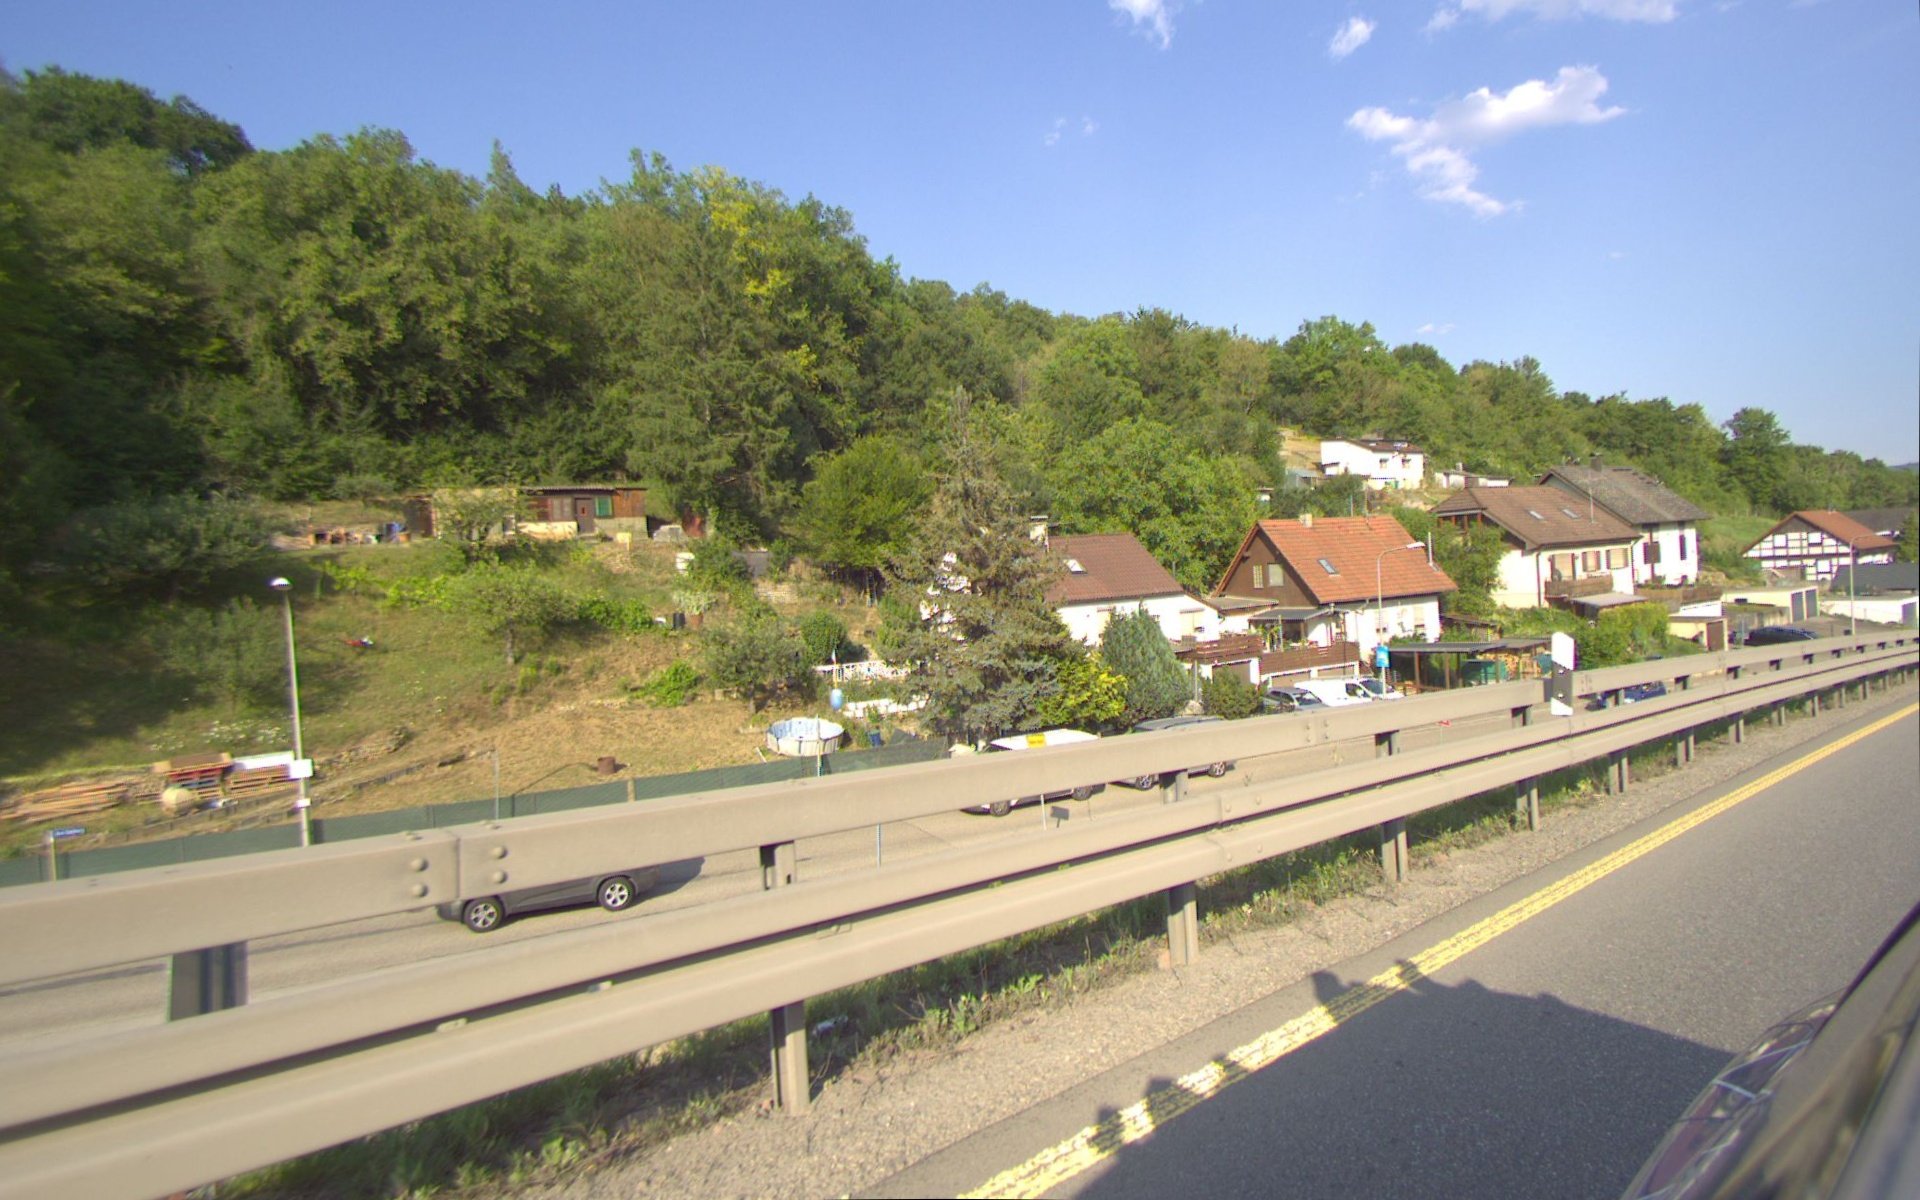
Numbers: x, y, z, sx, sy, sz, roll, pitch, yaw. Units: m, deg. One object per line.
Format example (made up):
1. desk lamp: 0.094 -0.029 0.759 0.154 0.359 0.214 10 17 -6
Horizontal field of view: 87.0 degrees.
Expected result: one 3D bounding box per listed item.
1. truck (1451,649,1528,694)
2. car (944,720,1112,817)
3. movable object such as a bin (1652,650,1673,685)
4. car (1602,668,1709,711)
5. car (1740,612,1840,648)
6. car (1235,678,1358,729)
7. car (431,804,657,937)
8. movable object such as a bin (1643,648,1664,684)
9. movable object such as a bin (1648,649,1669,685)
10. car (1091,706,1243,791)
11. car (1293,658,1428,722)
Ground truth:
1. truck: 26.397 3.537 50.589 1.967 1.760 3.990 -7 -1 8
2. car: 2.121 5.060 31.021 4.954 2.010 1.870 -3 3 -32
3. movable object such as a bin: 36.905 3.532 53.146 0.405 1.794 0.491 -2 -8 -27
4. car: 30.372 3.889 44.226 3.542 1.619 1.775 -3 -3 -13
5. car: 53.607 1.926 65.475 1.961 1.542 4.518 -3 8 -30
6. car: 14.343 4.385 43.500 1.682 1.576 5.110 -2 2 -32
7. car: -9.124 5.850 22.303 4.406 1.807 1.871 -2 1 -26
8. movable object such as a bin: 36.156 3.445 52.760 0.400 1.794 0.537 -2 -8 -27
9. movable object such as a bin: 36.528 3.514 52.945 0.405 1.794 0.491 -2 -8 -27
10. car: 6.914 4.860 33.693 4.767 1.940 2.005 -3 3 -29
11. car: 17.761 3.923 45.143 1.961 2.292 5.488 -2 1 -32
